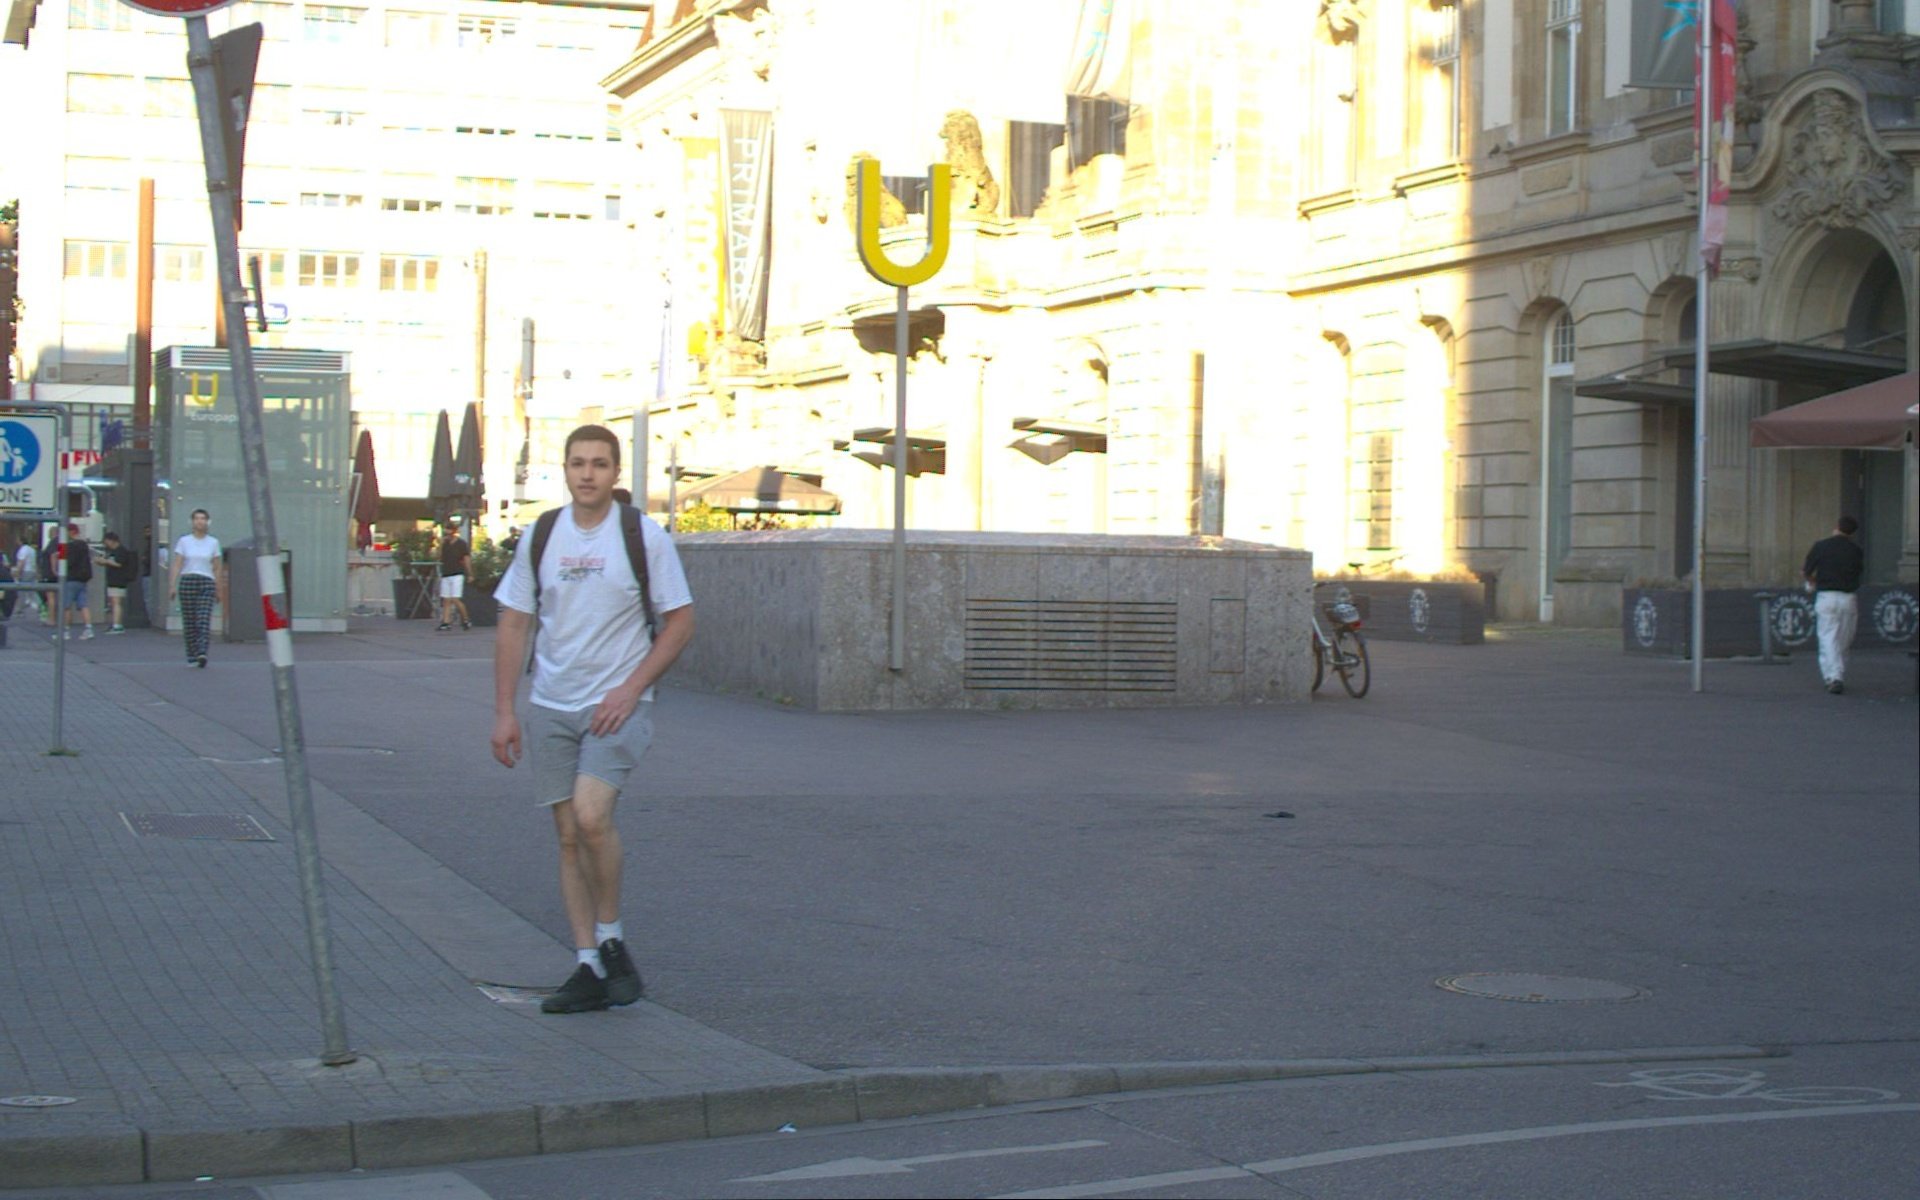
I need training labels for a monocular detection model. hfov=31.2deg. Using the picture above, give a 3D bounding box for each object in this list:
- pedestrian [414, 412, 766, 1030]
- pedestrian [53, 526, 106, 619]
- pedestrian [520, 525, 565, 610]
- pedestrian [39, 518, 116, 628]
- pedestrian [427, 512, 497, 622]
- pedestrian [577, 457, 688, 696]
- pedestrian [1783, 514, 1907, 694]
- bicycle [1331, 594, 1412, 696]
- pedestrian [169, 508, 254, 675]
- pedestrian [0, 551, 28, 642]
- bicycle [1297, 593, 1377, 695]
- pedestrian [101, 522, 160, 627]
[{"bbox_3d":[-1.176,0.369,10.984,1.013,1.857,1.043,2,0,-6],"label":"pedestrian"},{"bbox_3d":[-15.963,-0.506,62.363,0.792,1.655,0.769,1,1,-5],"label":"pedestrian"},{"bbox_3d":[-9.031,-0.713,74.423,0.773,1.818,0.850,1,1,-20],"label":"pedestrian"},{"bbox_3d":[-13.460,-0.411,52.427,0.793,1.655,0.768,2,1,32],"label":"pedestrian"},{"bbox_3d":[-8.295,-0.548,57.216,0.847,1.817,0.775,0,1,-40],"label":"pedestrian"},{"bbox_3d":[-2.810,-0.202,29.585,0.770,2.007,0.917,2,0,3],"label":"pedestrian"},{"bbox_3d":[7.954,0.025,30.918,0.847,1.560,0.850,1,2,0],"label":"pedestrian"},{"bbox_3d":[3.618,0.388,30.272,0.315,0.864,1.000,0,1,-18],"label":"bicycle"},{"bbox_3d":[-8.235,-0.102,37.810,0.773,1.817,0.940,-1,1,-20],"label":"pedestrian"},{"bbox_3d":[-13.099,-0.060,46.638,0.792,1.217,0.769,1,1,-20],"label":"pedestrian"},{"bbox_3d":[3.306,0.379,30.177,0.315,0.864,1.000,0,1,-18],"label":"bicycle"},{"bbox_3d":[-13.310,-0.414,55.163,0.792,1.655,0.769,1,1,-5],"label":"pedestrian"}]
